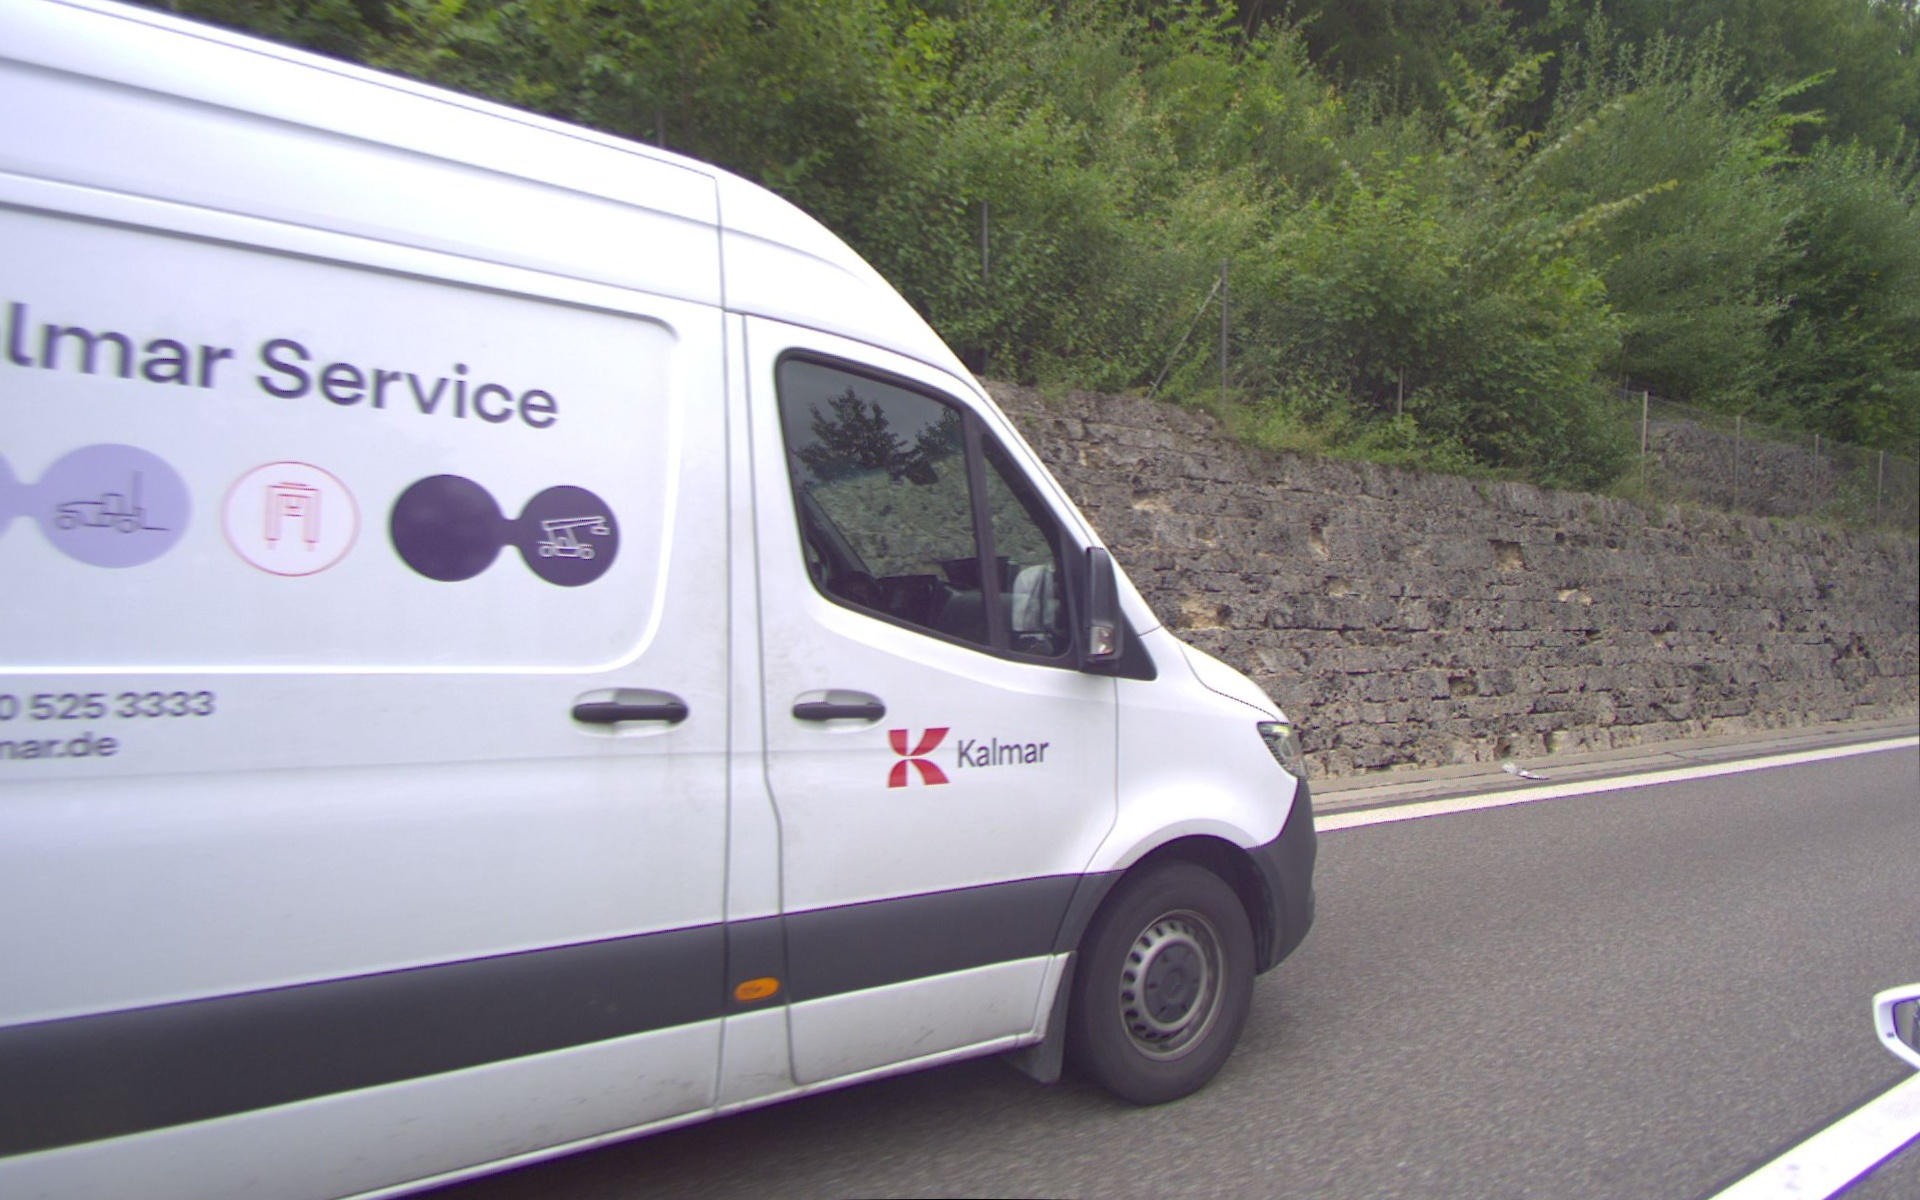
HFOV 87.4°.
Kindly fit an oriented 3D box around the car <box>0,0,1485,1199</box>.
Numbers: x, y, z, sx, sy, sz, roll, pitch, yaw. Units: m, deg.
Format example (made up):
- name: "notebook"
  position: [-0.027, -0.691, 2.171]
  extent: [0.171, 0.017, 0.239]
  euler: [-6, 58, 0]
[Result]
- name: "car"
  position: [-1.345, 0.153, 2.790]
  extent: [6.202, 2.619, 2.016]
  euler: [2, -1, -31]
